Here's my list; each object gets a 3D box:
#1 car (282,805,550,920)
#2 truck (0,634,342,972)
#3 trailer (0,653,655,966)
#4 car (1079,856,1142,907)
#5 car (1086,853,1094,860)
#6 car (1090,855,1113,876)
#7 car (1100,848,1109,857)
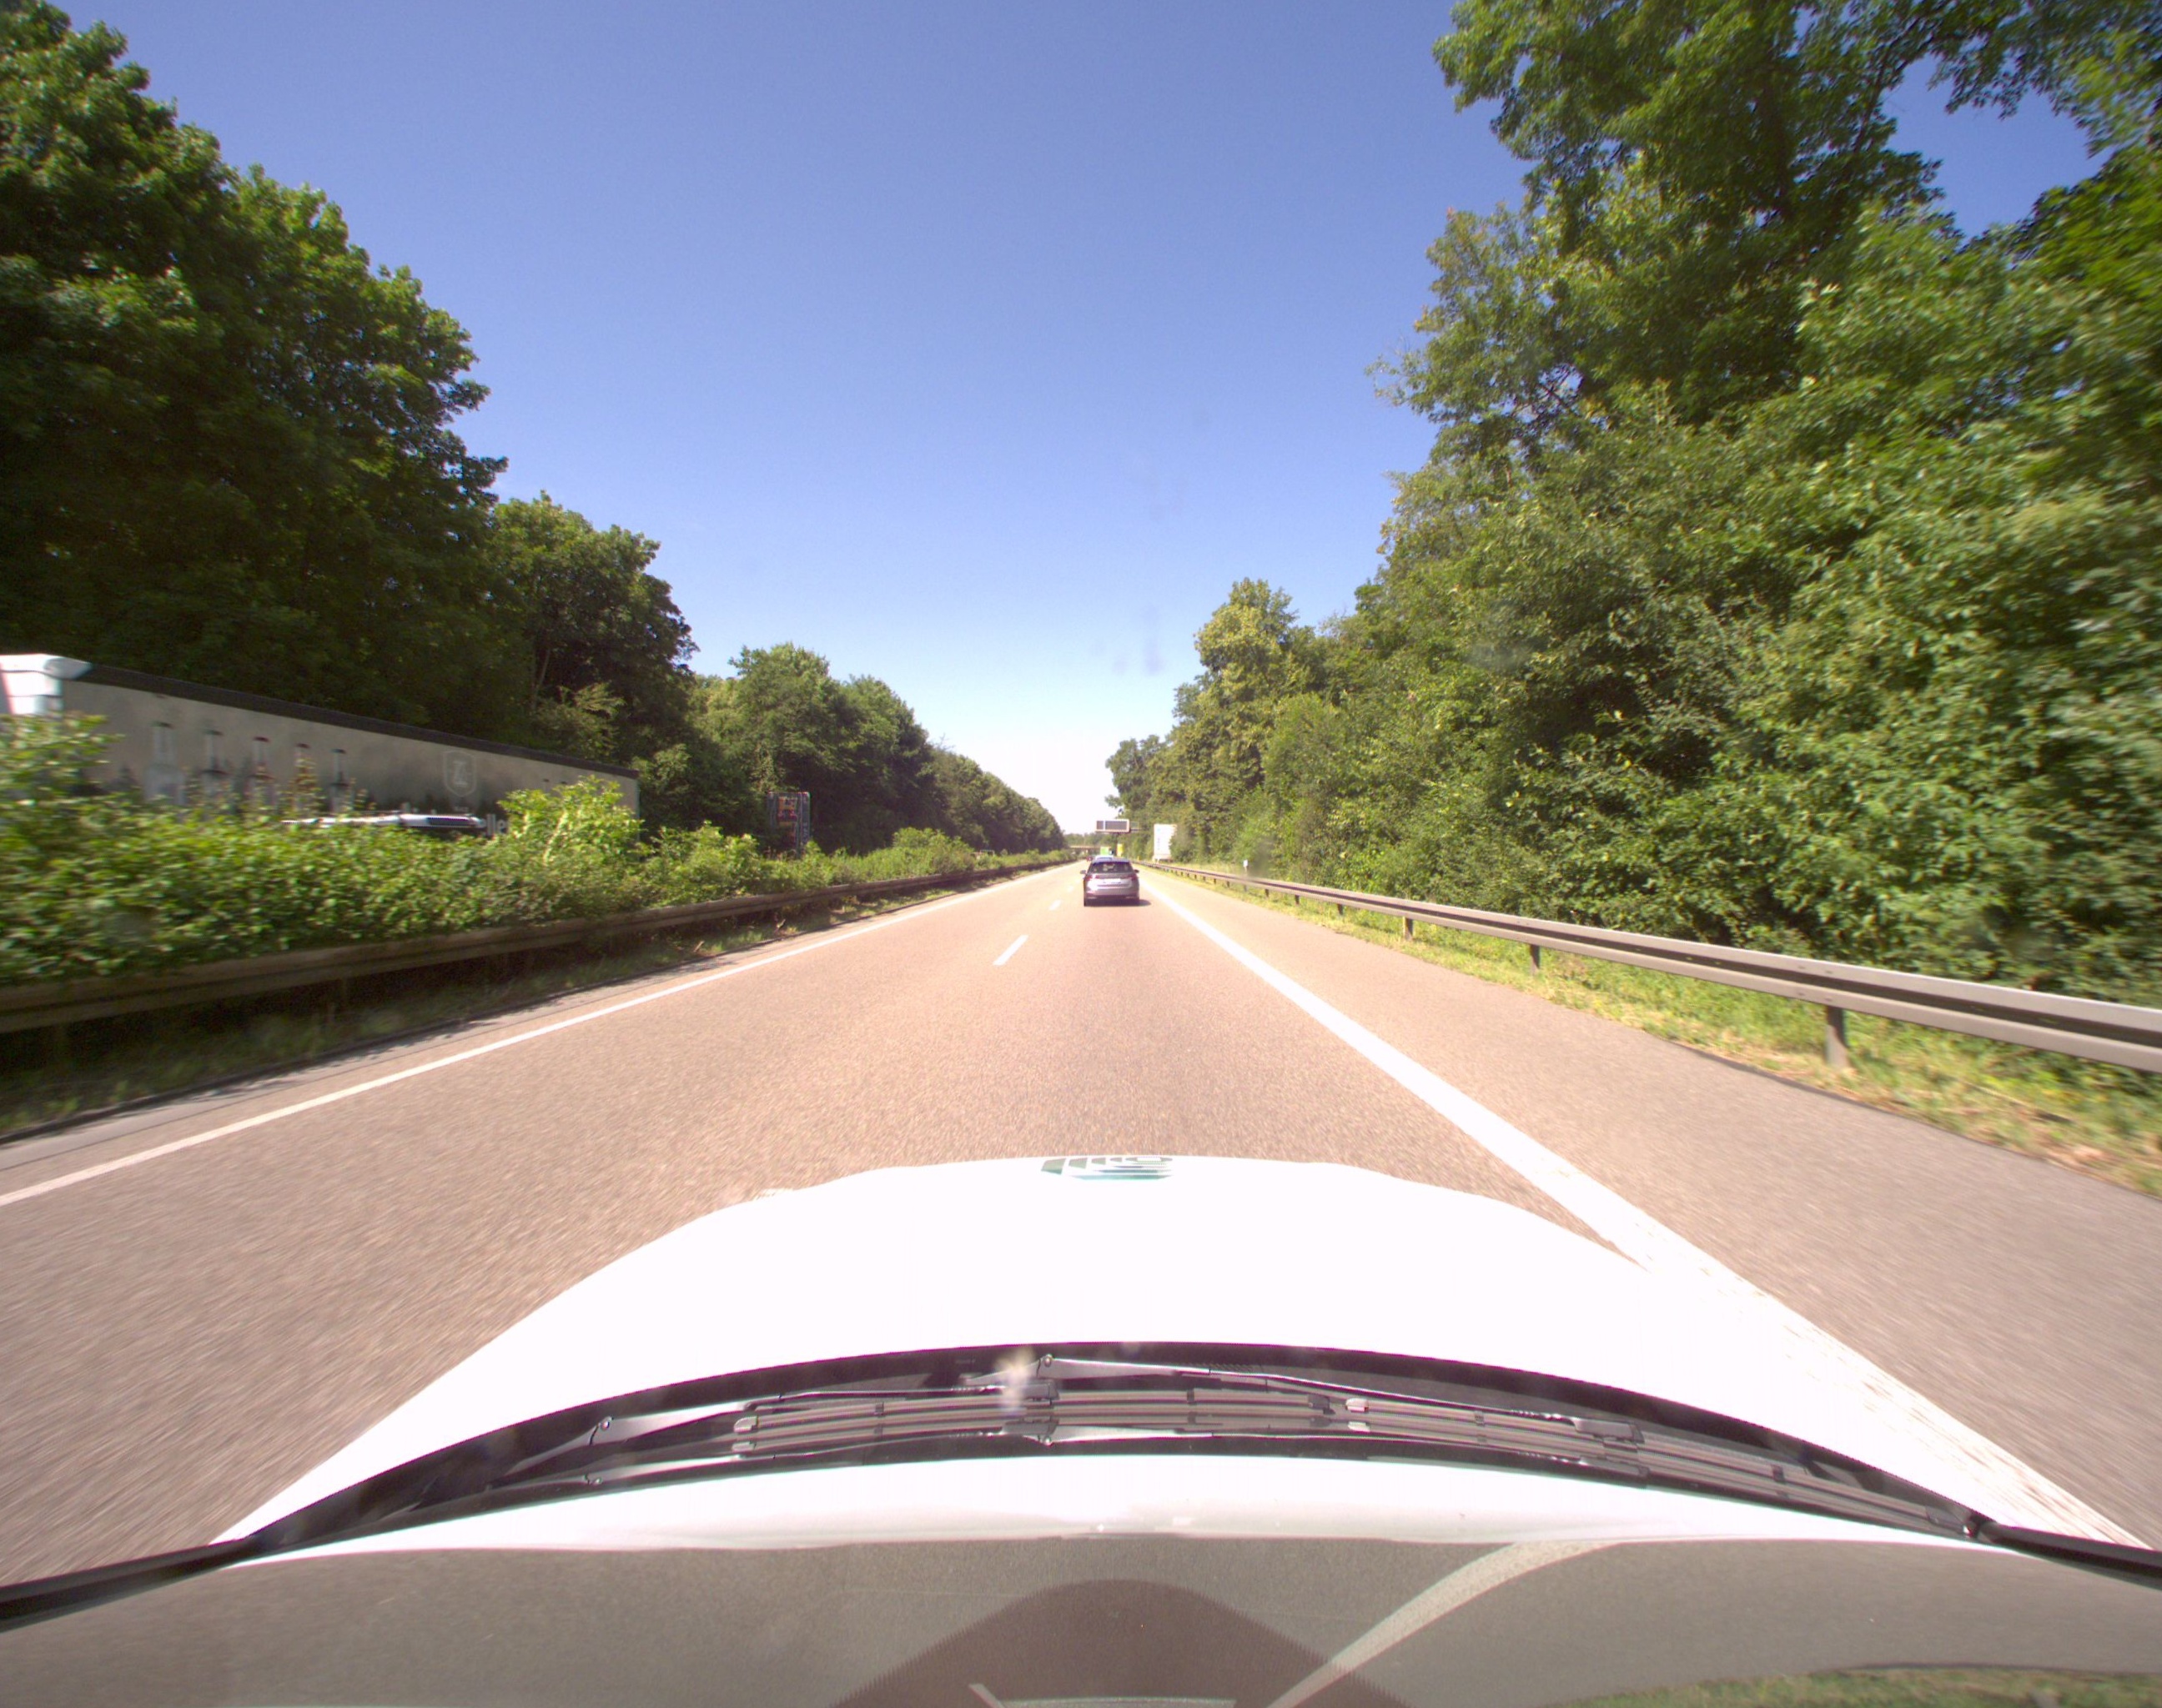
[{"bbox_3d":[-11.031,0.138,13.864,1.601,1.706,3.482,0,-1,2],"label":"car"},{"bbox_3d":[-14.903,-0.622,11.537,2.707,4.244,6.539,0,-1,2],"label":"truck"},{"bbox_3d":[-14.643,-0.545,18.048,2.818,4.300,13.668,0,-1,2],"label":"trailer"},{"bbox_3d":[0.979,0.814,25.566,1.832,1.472,3.626,0,0,3],"label":"car"},{"bbox_3d":[2.381,0.671,221.559,1.986,2.014,4.001,0,-1,2],"label":"car"},{"bbox_3d":[1.466,0.775,56.766,1.516,1.446,3.343,0,0,3],"label":"car"},{"bbox_3d":[7.378,-0.340,251.363,2.738,2.654,4.001,0,-1,2],"label":"car"}]
